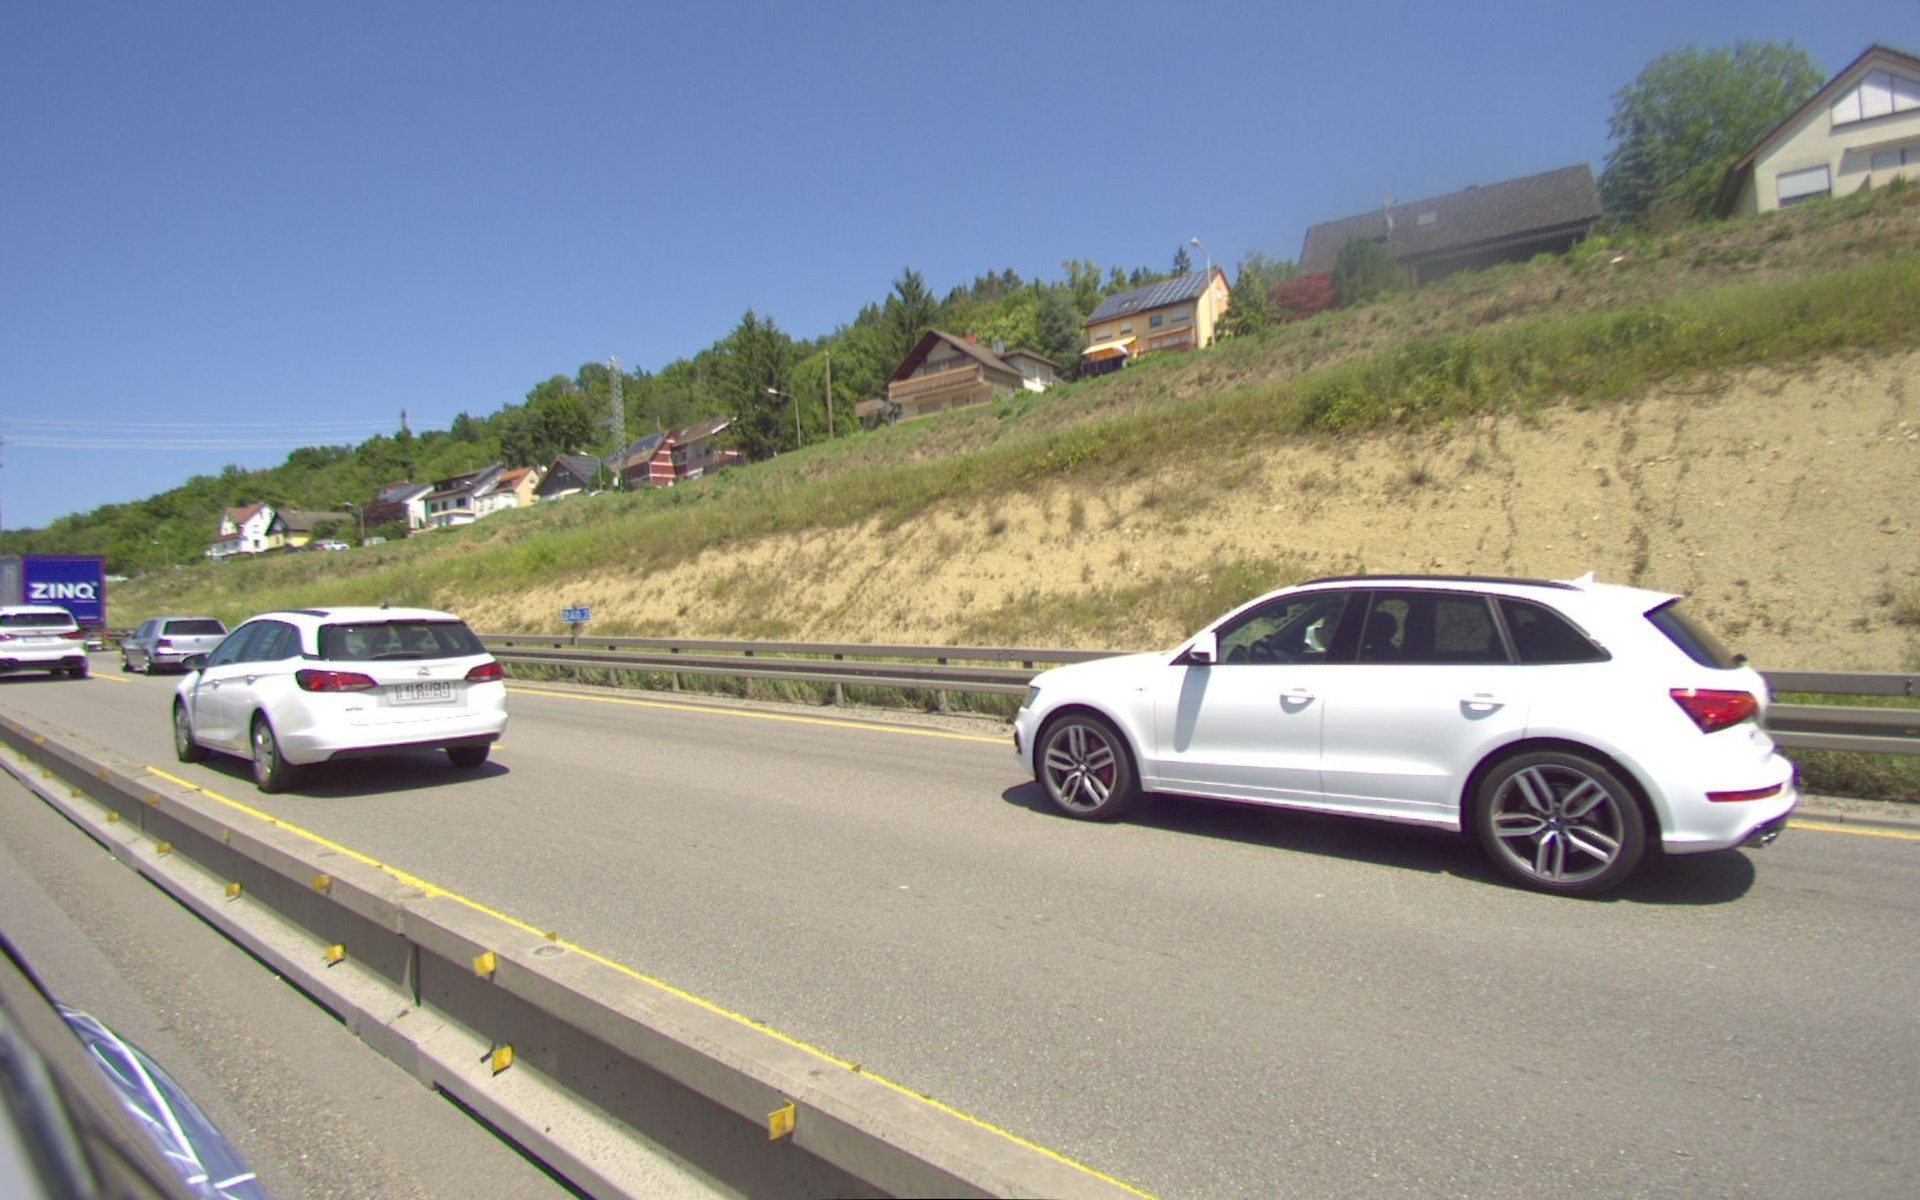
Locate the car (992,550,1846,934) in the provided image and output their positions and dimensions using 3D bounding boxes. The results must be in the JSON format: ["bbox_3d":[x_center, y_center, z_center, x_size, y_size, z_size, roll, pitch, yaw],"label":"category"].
[{"bbox_3d":[2.551,0.618,6.400,4.511,1.596,1.880,-1,0,40],"label":"car"}]

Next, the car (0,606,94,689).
[{"bbox_3d":[-21.586,1.051,23.254,4.558,1.721,1.872,-1,0,40],"label":"car"}]

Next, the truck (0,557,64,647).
[{"bbox_3d":[-45.760,0.129,48.865,4.244,4.191,3.206,-1,-1,41],"label":"truck"}]

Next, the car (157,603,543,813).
[{"bbox_3d":[-5.769,0.812,9.346,4.277,1.488,1.788,-1,0,40],"label":"car"}]

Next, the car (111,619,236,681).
[{"bbox_3d":[-19.679,1.188,25.261,3.964,1.389,1.684,-1,0,40],"label":"car"}]

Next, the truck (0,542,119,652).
[{"bbox_3d":[-40.271,-0.003,44.183,13.969,4.191,3.210,-1,-1,41],"label":"truck"}]
